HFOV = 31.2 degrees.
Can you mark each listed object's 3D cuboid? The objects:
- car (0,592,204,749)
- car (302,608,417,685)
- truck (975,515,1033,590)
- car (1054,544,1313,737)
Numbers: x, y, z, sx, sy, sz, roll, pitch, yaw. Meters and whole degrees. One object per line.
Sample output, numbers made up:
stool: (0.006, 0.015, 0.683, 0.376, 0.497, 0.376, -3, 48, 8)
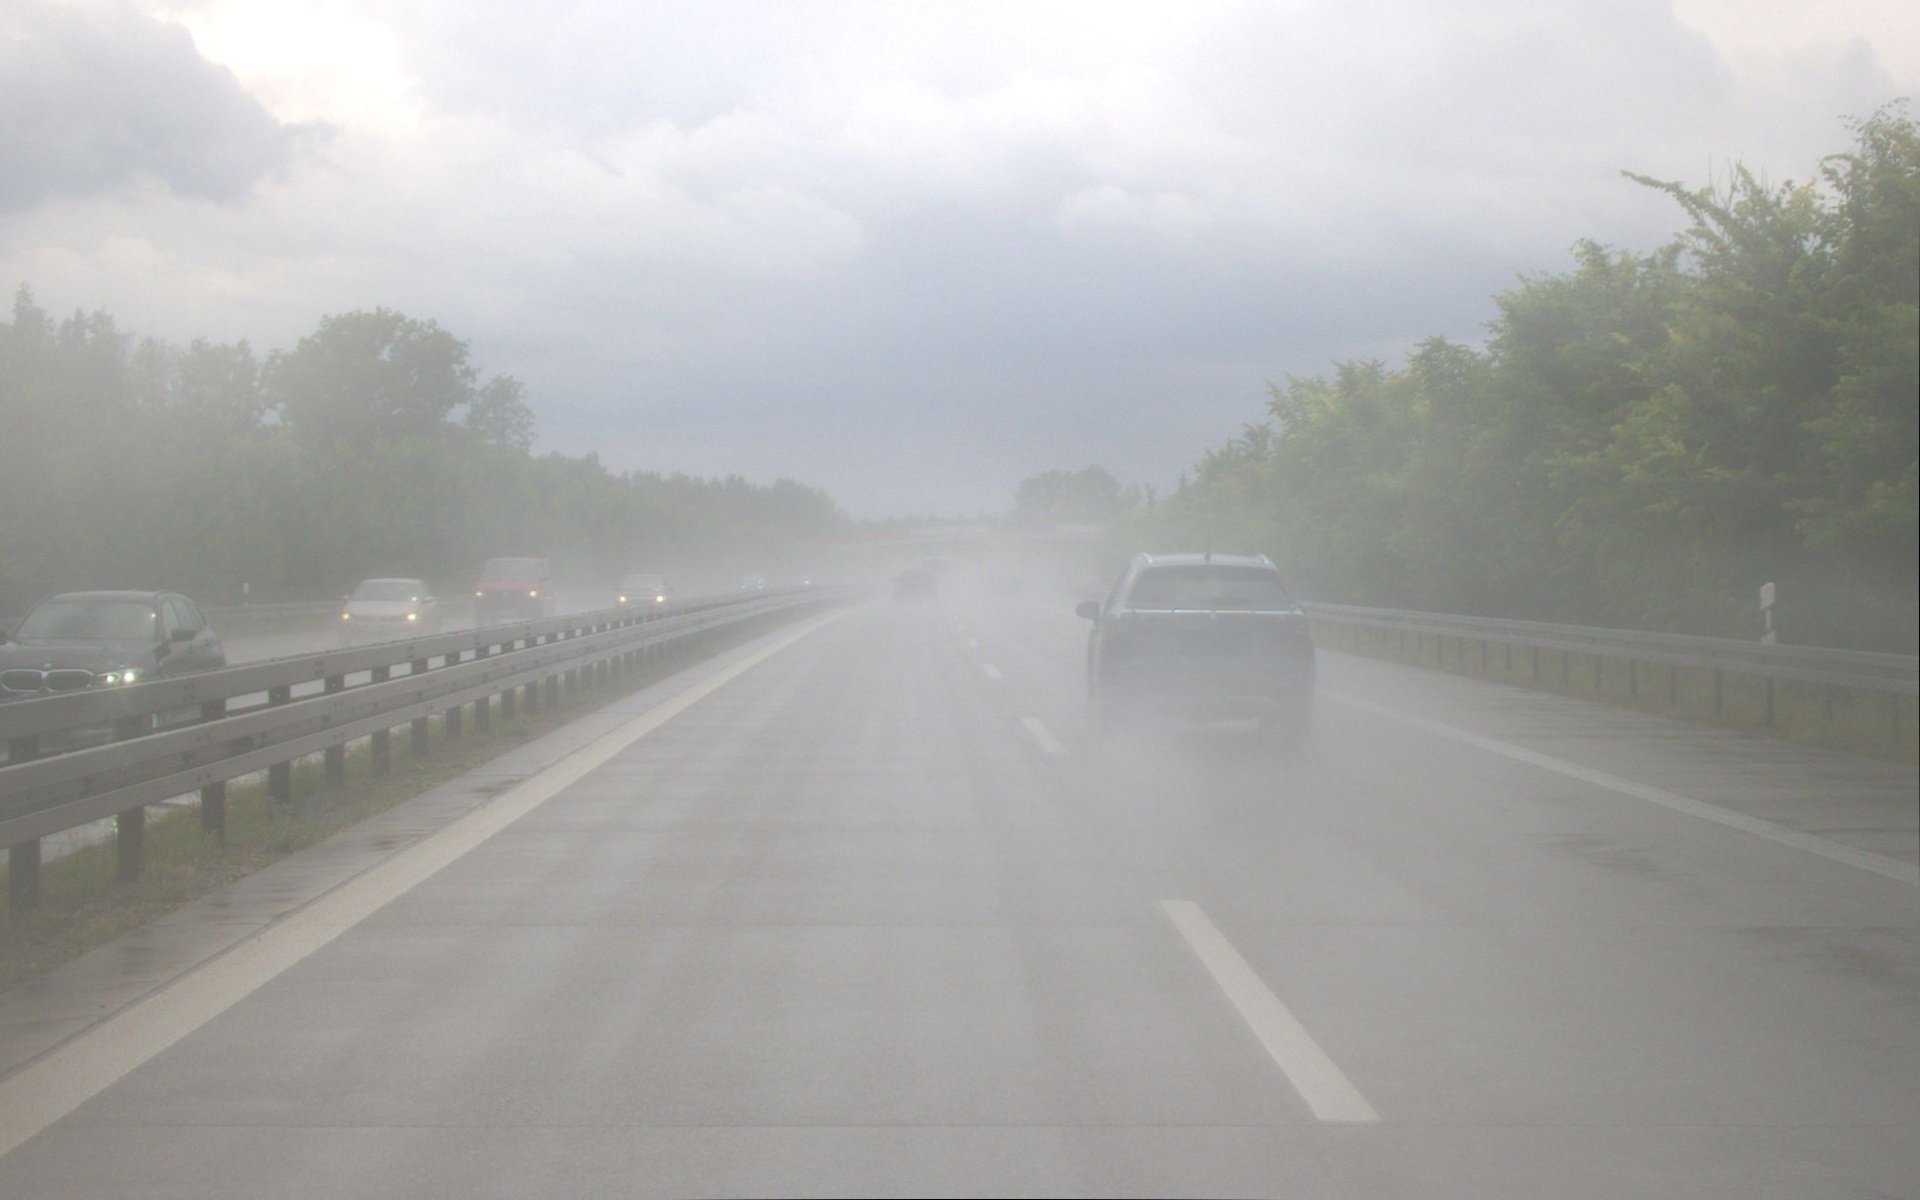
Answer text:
car: (-8.614, 0.652, 33.938, 1.519, 1.398, 3.931, -1, 1, -2)
car: (-12.620, 0.957, 72.455, 1.749, 1.430, 3.918, -2, 1, -1)
truck: (2.710, -2.848, 208.830, 3.244, 4.422, 8.245, 0, 0, 2)
car: (1.887, 0.343, 30.001, 1.894, 1.571, 3.632, 0, 0, -2)
